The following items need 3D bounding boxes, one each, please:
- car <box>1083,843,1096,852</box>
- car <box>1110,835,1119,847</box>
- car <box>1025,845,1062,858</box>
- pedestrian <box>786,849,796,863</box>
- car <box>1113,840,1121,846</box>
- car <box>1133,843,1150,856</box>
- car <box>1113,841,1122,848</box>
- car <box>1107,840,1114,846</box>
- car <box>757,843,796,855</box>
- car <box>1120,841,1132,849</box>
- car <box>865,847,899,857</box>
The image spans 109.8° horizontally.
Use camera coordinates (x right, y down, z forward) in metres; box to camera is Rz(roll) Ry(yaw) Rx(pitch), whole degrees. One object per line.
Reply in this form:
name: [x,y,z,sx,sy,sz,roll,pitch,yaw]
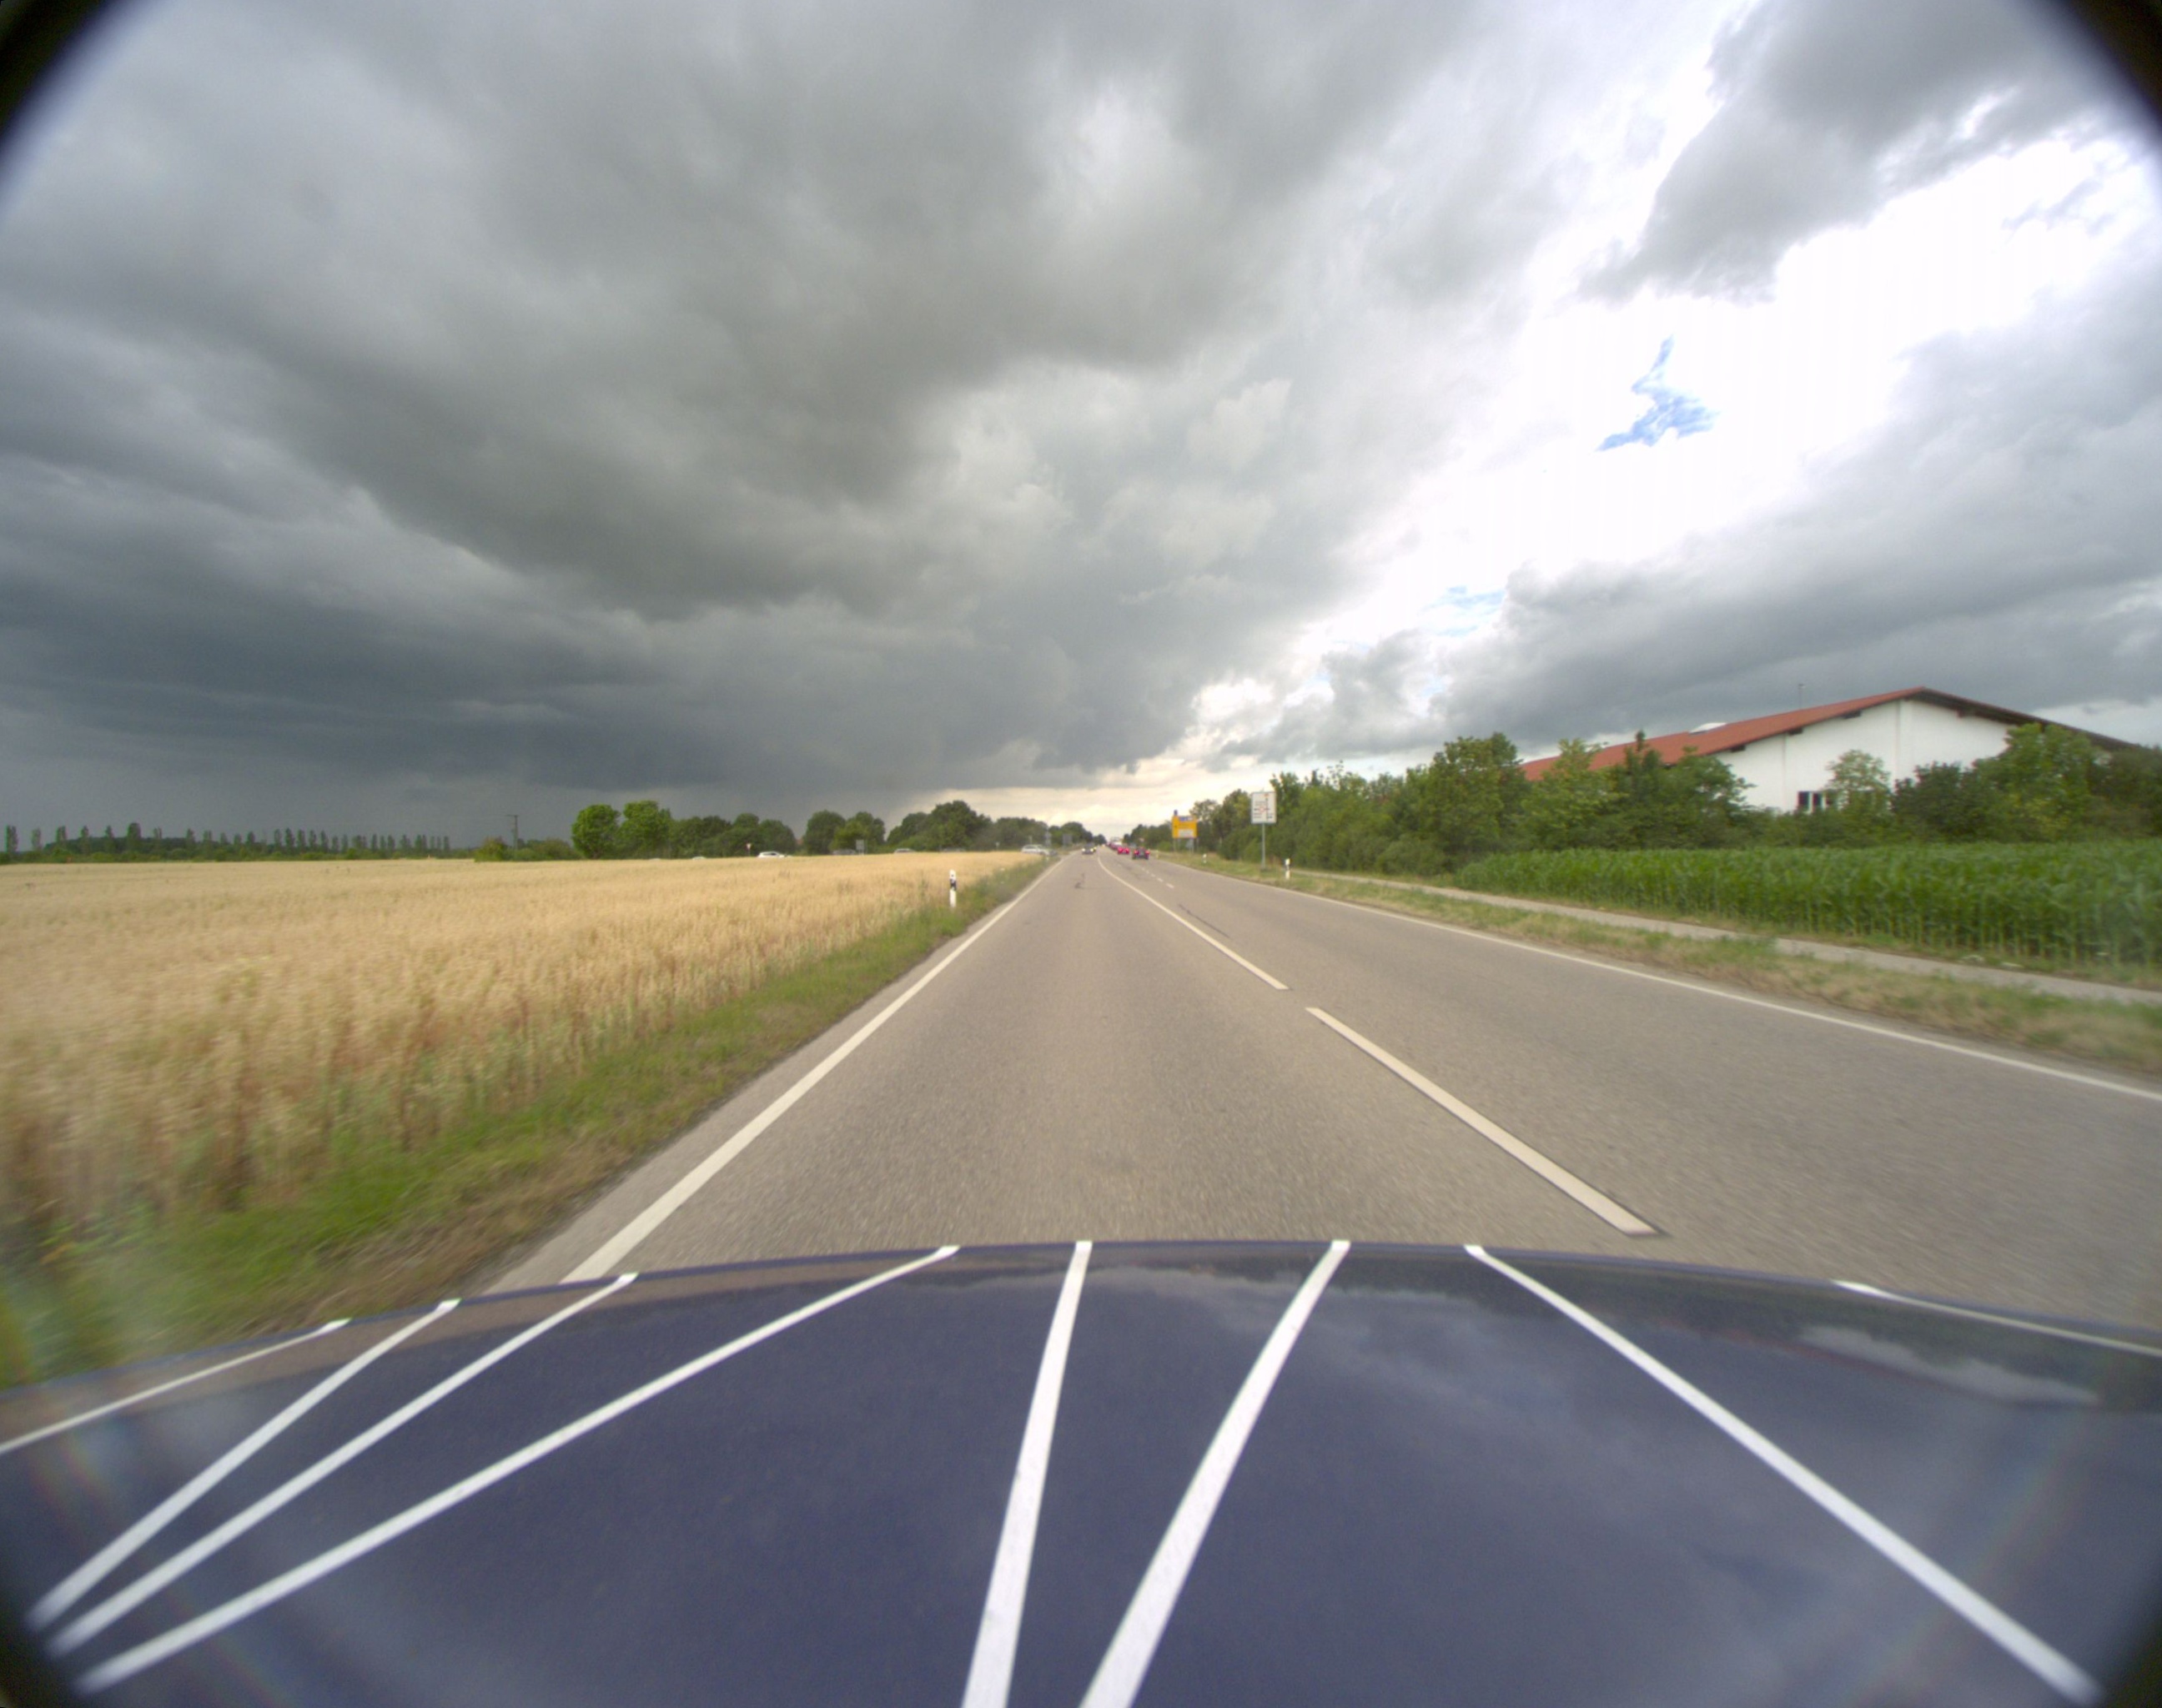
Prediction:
car: [1.308,-1.030,120.725,1.998,1.474,3.999,-1,1,1]
car: [8.895,-3.443,202.633,2.339,3.011,6.558,2,0,1]
car: [-4.870,-0.358,98.993,4.381,1.578,2.000,1,3,32]
pedestrian: [-35.641,0.242,93.382,0.945,1.602,0.772,-1,1,-13]
car: [8.174,-2.540,172.753,1.676,1.393,4.089,1,0,2]
car: [7.041,-0.516,88.975,1.673,1.421,4.302,1,1,1]
car: [9.000,-2.303,188.852,1.999,1.614,4.260,2,0,0]
car: [9.176,-3.377,235.714,1.856,1.740,4.000,-1,1,1]
car: [-42.336,-0.701,105.743,4.633,1.486,1.722,-1,3,5]
car: [7.484,-1.462,125.927,1.775,1.234,4.211,0,1,2]
car: [-27.369,-0.265,104.720,4.209,1.345,1.723,-1,1,5]
